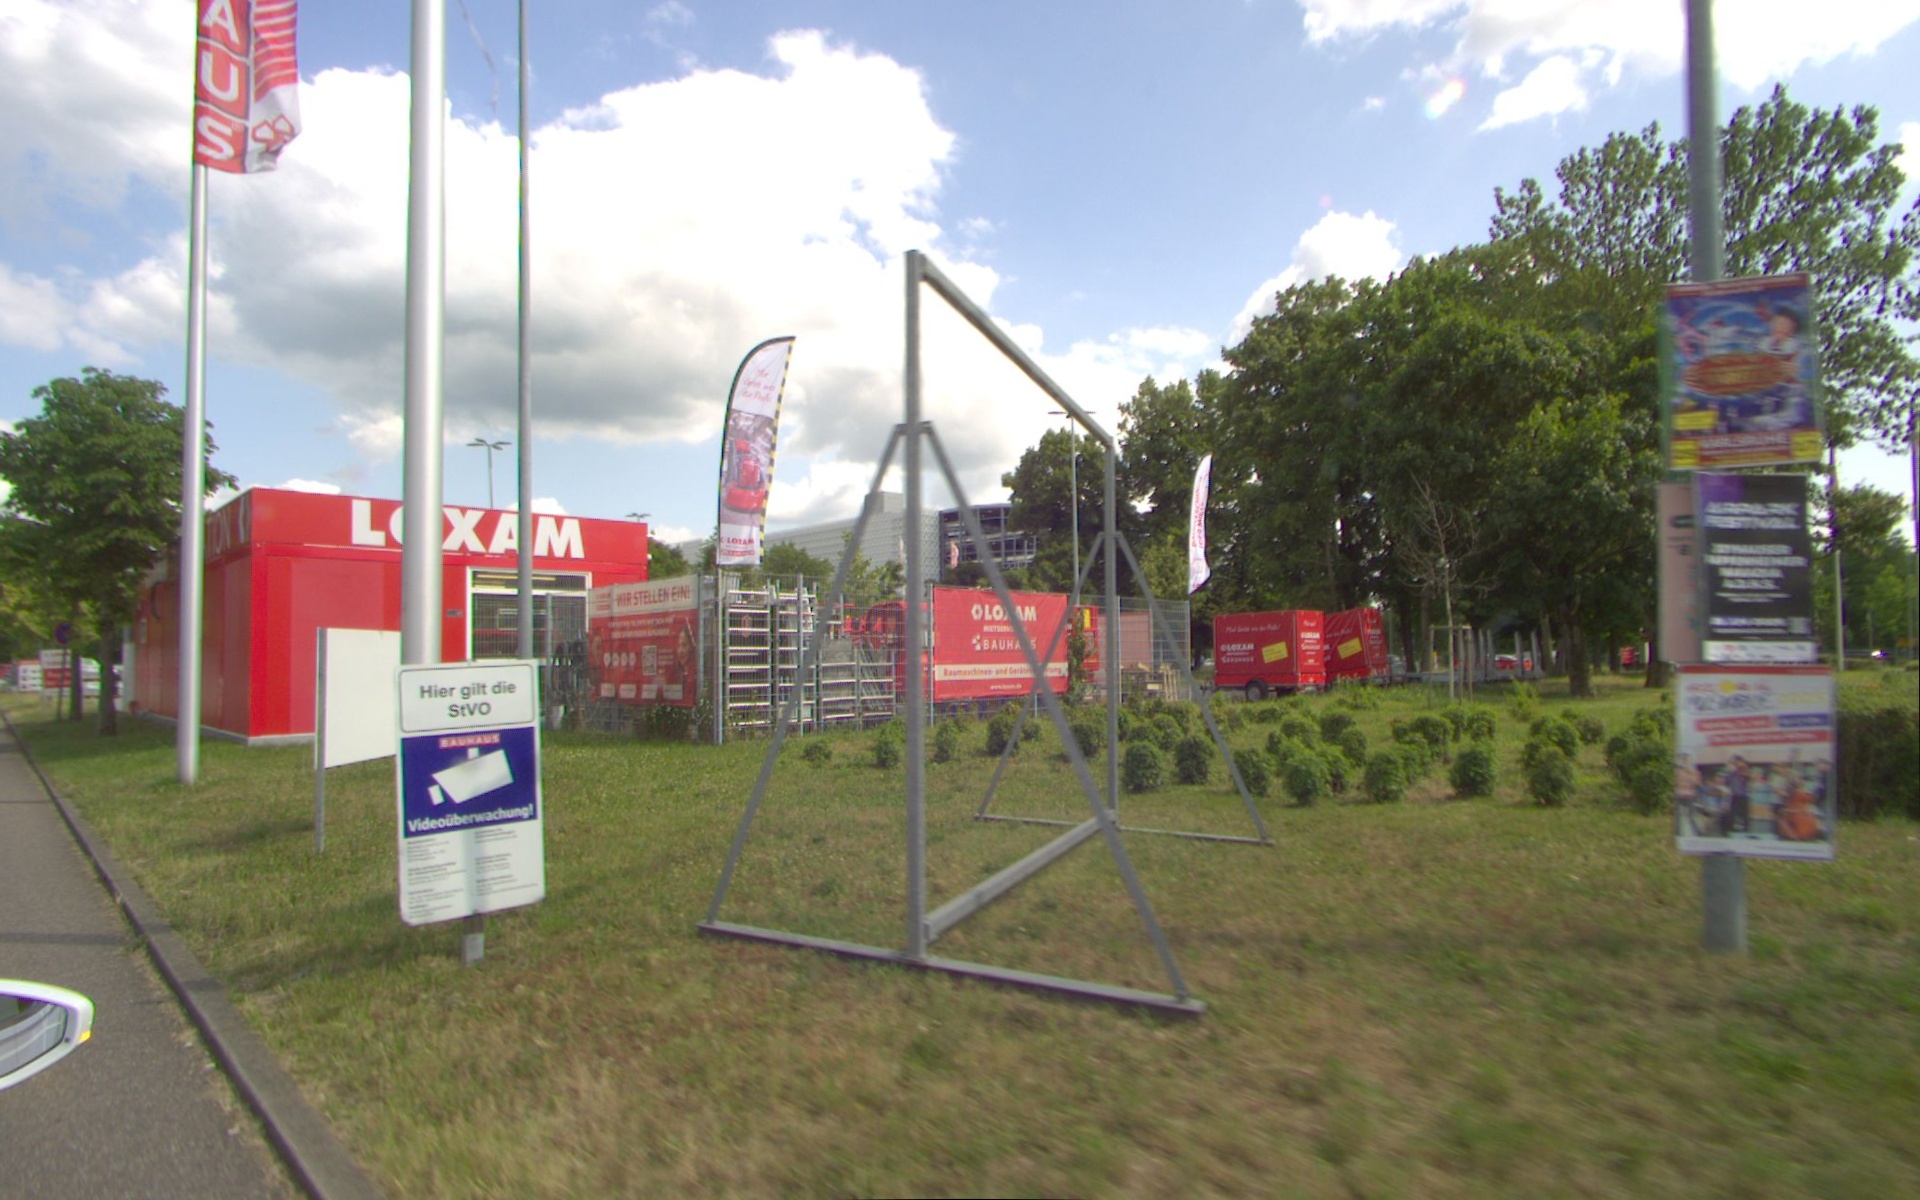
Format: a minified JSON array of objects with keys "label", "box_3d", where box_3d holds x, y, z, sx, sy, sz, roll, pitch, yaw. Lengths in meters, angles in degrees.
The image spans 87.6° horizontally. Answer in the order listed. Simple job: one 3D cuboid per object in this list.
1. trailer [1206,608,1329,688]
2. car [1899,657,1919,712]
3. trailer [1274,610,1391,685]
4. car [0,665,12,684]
[{"label":"trailer","box_3d":[8.251,1.309,26.959,1.485,2.038,2.771,2,-4,-42]},{"label":"car","box_3d":[29.251,2.463,29.791,1.703,1.557,3.656,-8,-9,44]},{"label":"trailer","box_3d":[10.726,1.395,28.893,2.767,2.038,1.487,-3,-4,43]},{"label":"car","box_3d":[-76.104,5.838,77.875,1.638,1.429,3.560,-1,-3,-6]}]
